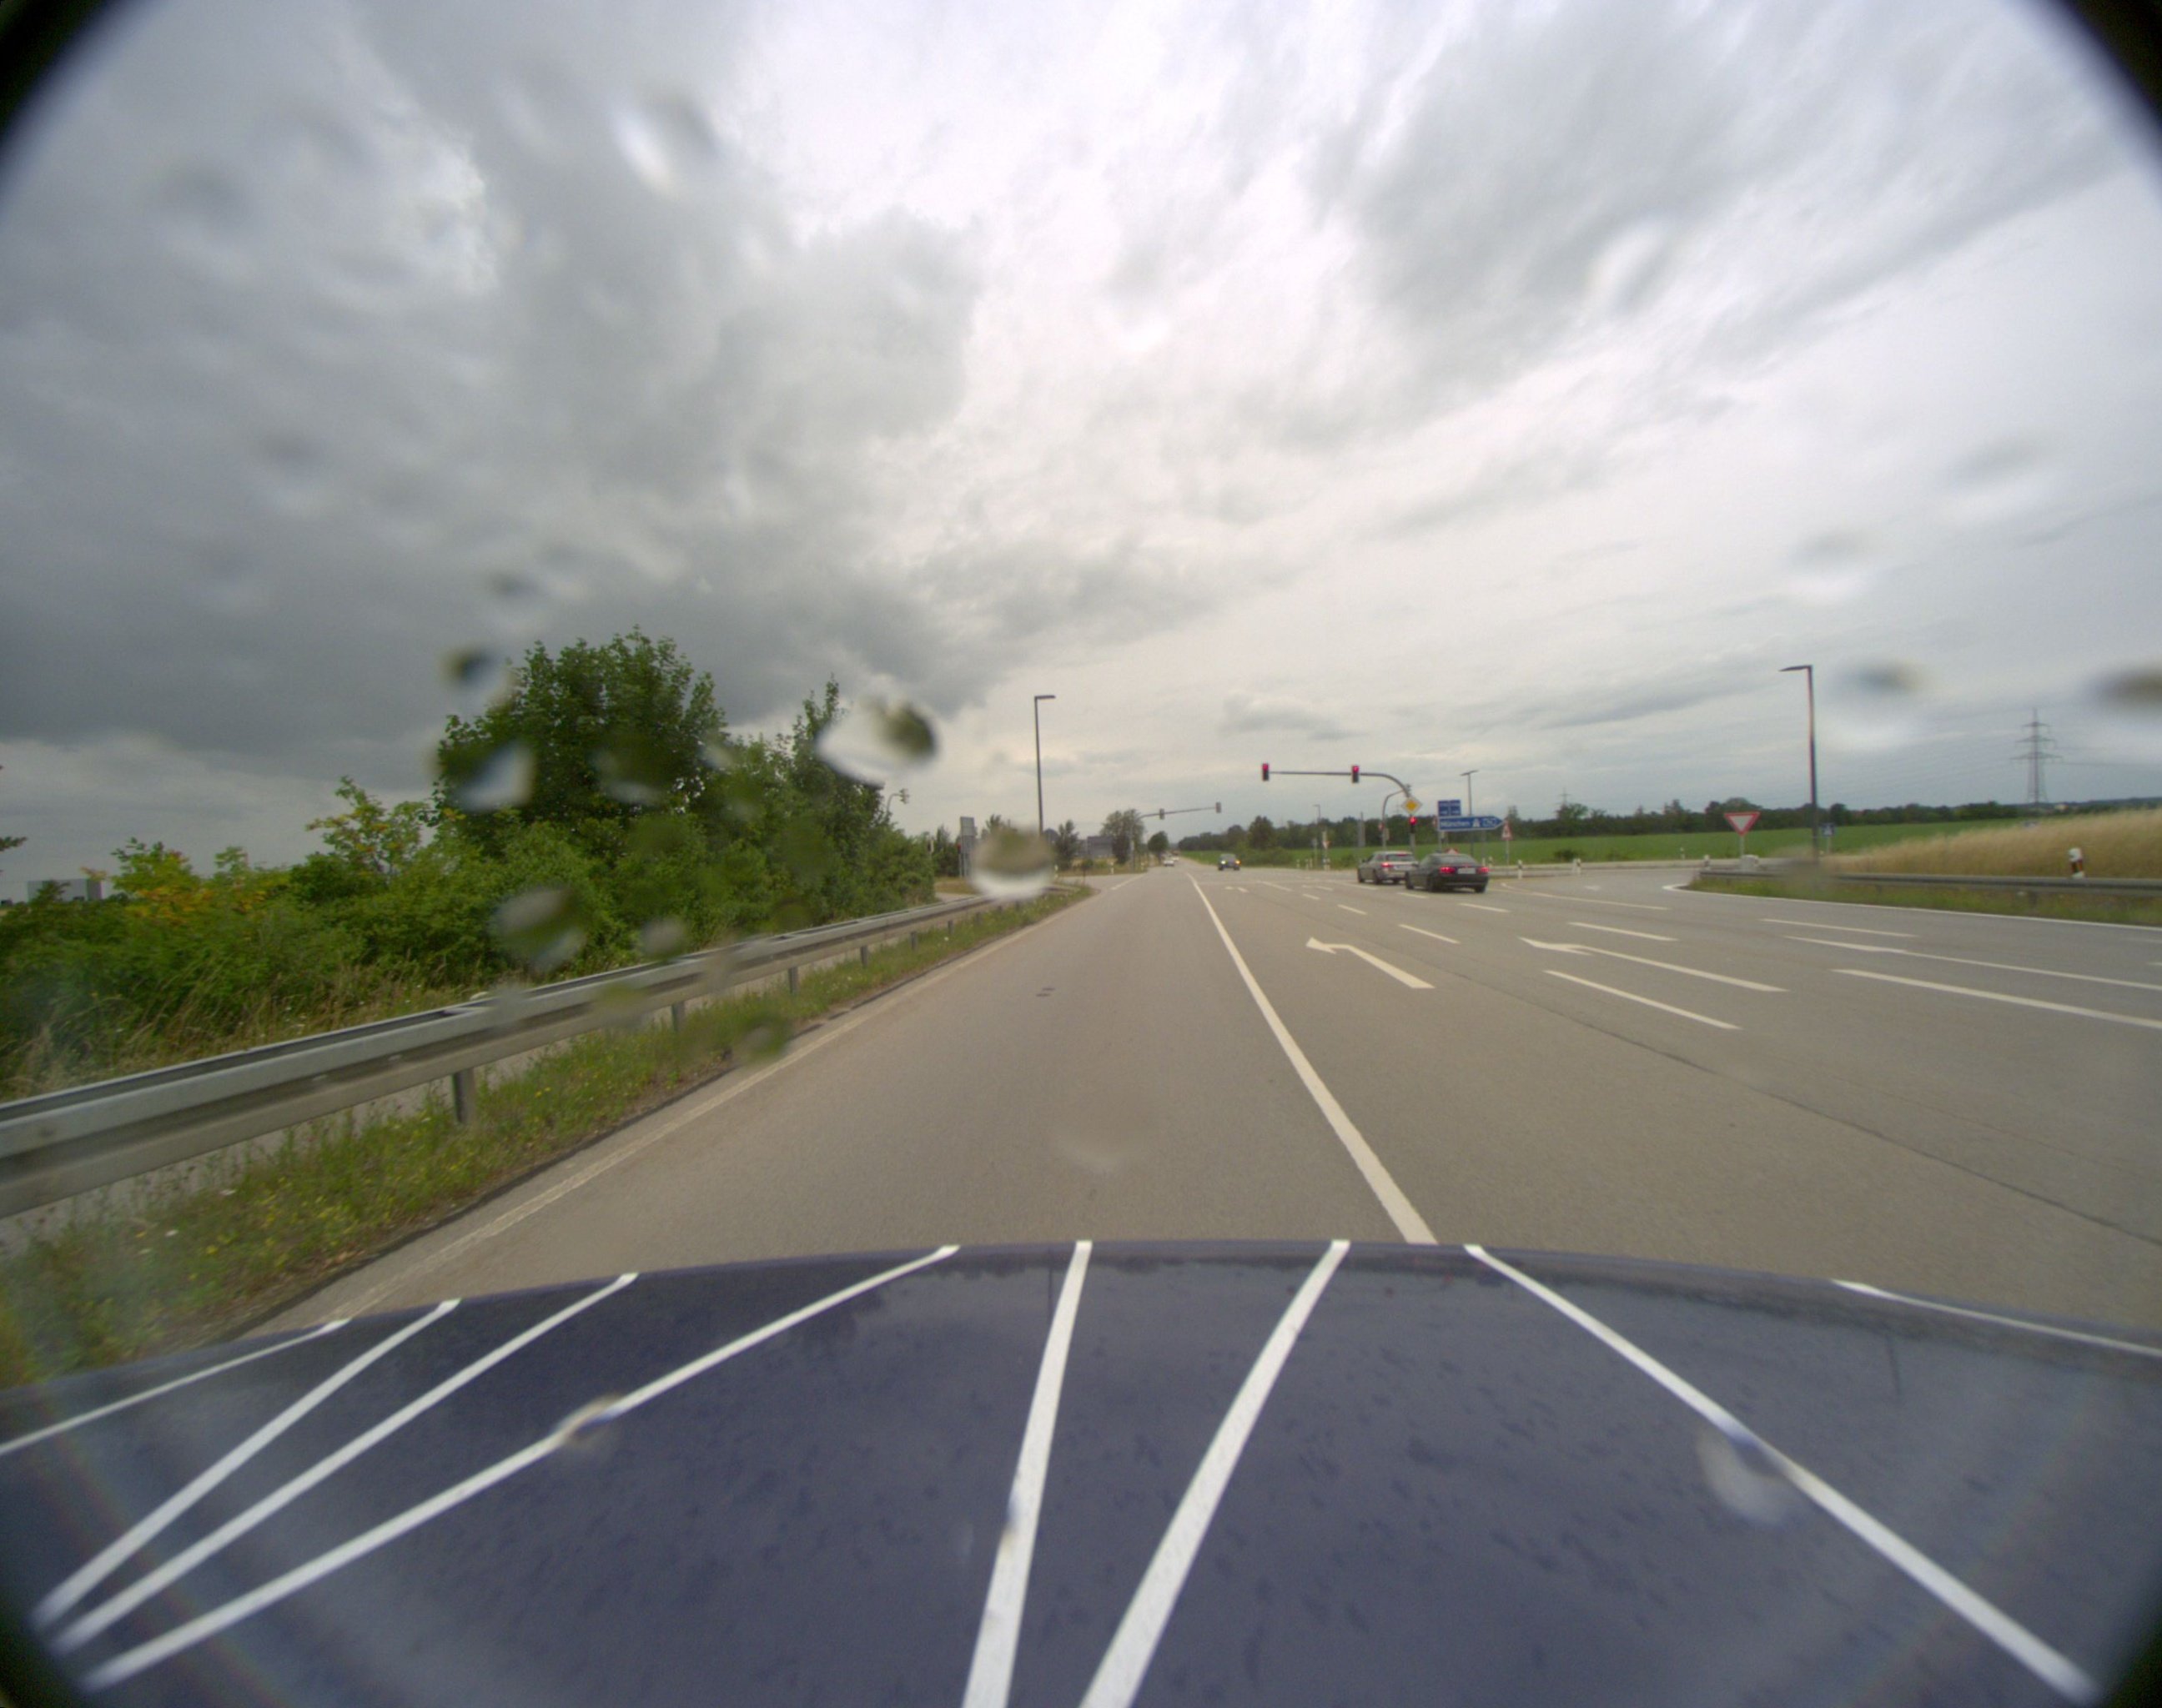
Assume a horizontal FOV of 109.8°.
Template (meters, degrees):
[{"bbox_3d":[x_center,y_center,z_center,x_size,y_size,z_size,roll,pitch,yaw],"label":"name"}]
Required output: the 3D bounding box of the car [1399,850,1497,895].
[{"bbox_3d":[13.068,0.602,27.385,1.711,1.402,4.676,-2,1,6],"label":"car"}]

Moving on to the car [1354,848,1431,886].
[{"bbox_3d":[14.018,0.547,34.520,1.918,1.601,4.951,0,0,6],"label":"car"}]

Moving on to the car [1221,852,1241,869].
[{"bbox_3d":[16.078,0.708,81.538,1.997,1.674,5.003,-2,0,11],"label":"car"}]
